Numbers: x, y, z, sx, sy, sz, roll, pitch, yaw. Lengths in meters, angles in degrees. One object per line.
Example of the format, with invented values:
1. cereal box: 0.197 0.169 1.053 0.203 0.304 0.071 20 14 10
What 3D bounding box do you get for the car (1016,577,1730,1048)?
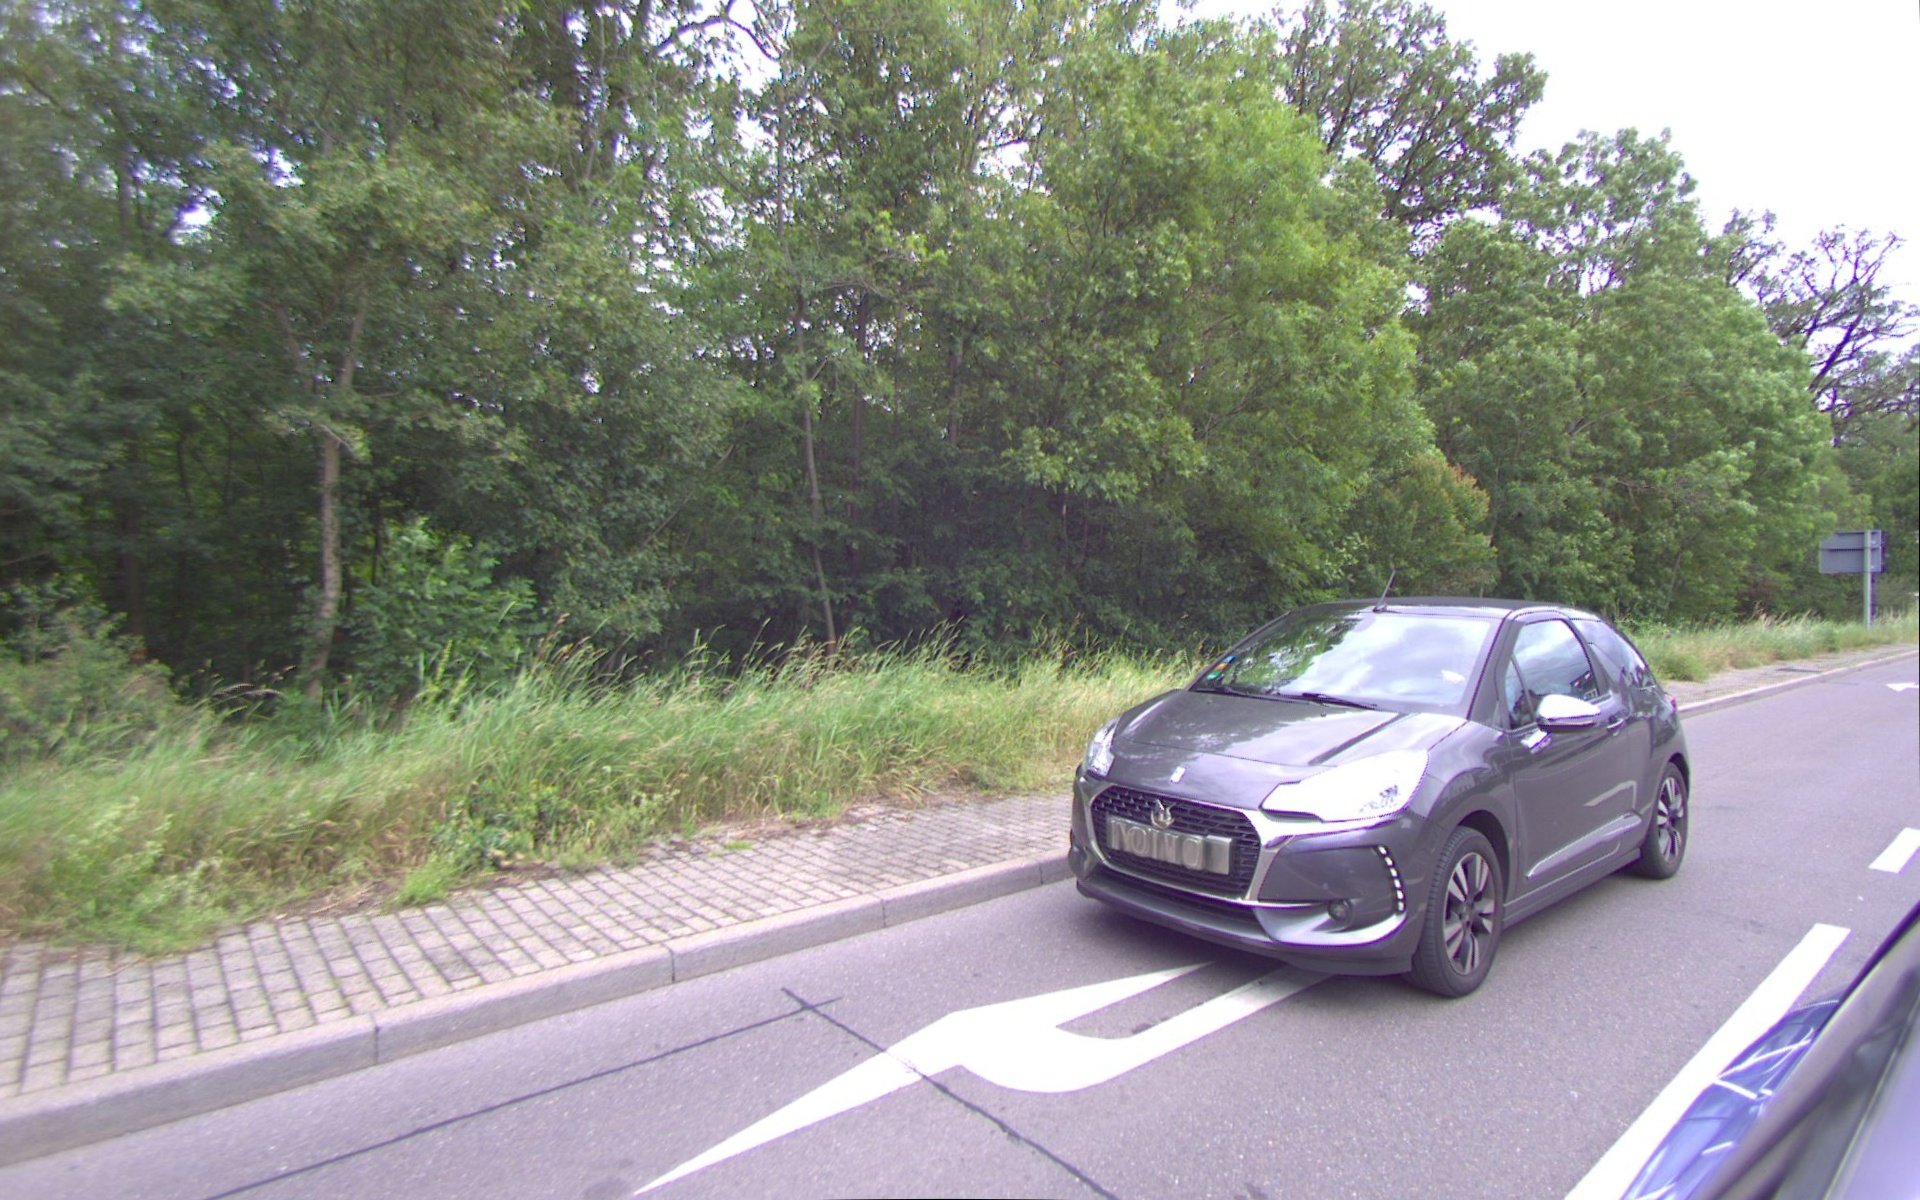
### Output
1. car: 2.249 0.644 5.051 3.786 1.476 1.729 -1 1 -39
